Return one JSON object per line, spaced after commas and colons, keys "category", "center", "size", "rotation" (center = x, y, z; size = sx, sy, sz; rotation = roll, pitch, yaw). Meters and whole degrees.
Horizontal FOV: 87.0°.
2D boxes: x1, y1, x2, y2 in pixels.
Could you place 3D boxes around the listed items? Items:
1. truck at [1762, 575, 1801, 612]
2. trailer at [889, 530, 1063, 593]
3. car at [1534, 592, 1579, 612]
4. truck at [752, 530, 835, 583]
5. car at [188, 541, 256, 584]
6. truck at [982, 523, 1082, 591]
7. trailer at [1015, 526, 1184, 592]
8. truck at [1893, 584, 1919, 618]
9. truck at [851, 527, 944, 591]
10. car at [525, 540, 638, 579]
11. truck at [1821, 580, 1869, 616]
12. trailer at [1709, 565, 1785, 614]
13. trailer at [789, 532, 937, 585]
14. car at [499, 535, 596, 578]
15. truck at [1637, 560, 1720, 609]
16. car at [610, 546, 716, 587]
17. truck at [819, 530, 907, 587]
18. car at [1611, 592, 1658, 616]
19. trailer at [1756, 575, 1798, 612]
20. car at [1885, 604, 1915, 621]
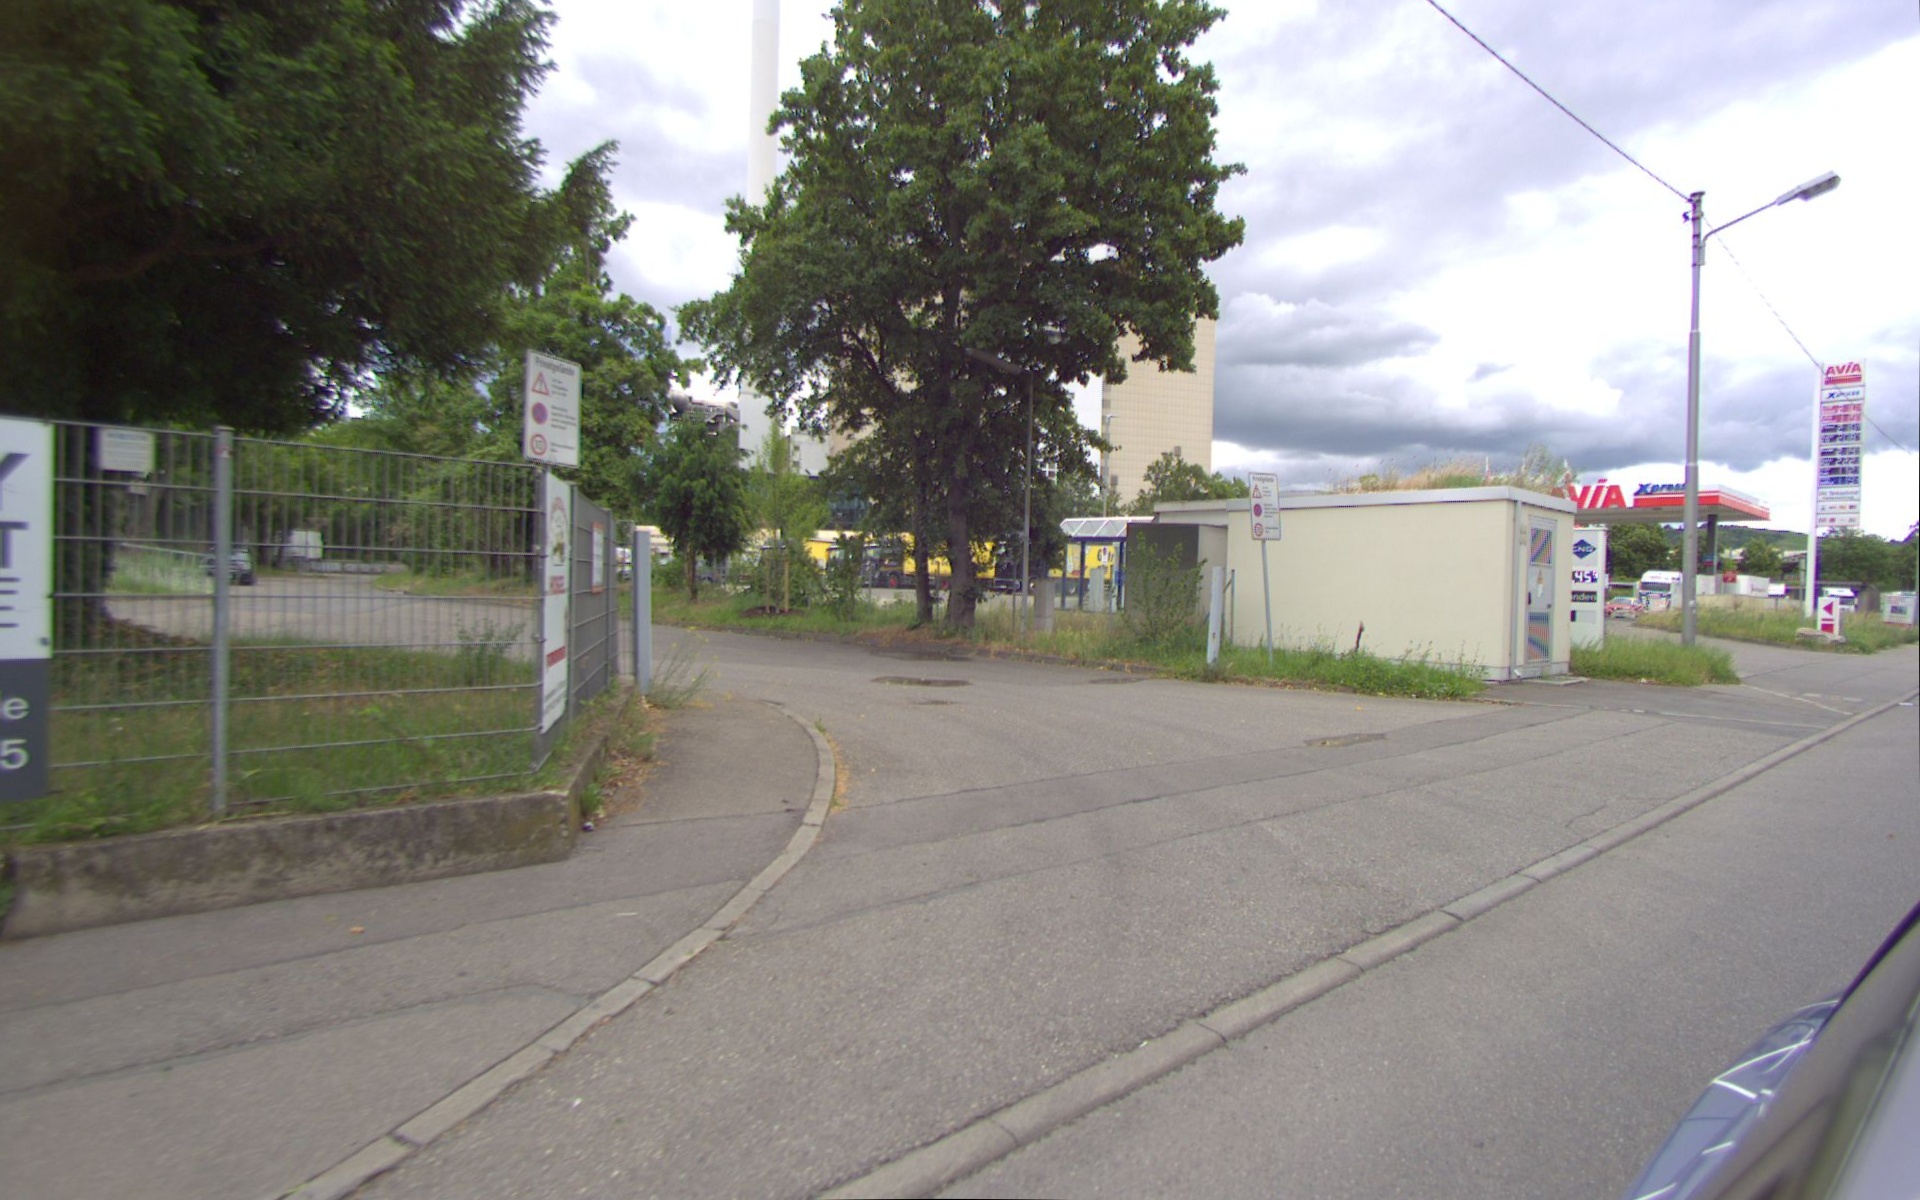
{"category": "truck", "center": [96.959, -0.769, 119.461], "size": [2.856, 4.145, 6.672], "rotation": [3, 2, 35]}
{"category": "trailer", "center": [1.611, -2.824, 77.674], "size": [15.457, 4.313, 3.025], "rotation": [0, 2, -43]}
{"category": "car", "center": [45.086, 0.160, 76.462], "size": [4.143, 1.408, 1.768], "rotation": [1, 3, -42]}
{"category": "truck", "center": [-13.188, -3.425, 80.337], "size": [5.938, 3.963, 2.694], "rotation": [1, 2, -43]}
{"category": "car", "center": [-29.321, -1.533, 40.316], "size": [1.961, 1.539, 4.445], "rotation": [2, 2, -34]}
{"category": "truck", "center": [4.575, -2.666, 63.932], "size": [5.938, 3.963, 2.961], "rotation": [1, 2, -43]}
{"category": "trailer", "center": [9.783, -2.627, 68.759], "size": [14.058, 3.963, 3.004], "rotation": [0, 2, -43]}
{"category": "truck", "center": [118.105, 0.196, 125.063], "size": [2.855, 4.063, 6.675], "rotation": [3, 2, 33]}
{"category": "truck", "center": [-4.444, -2.883, 72.110], "size": [5.938, 4.315, 3.048], "rotation": [1, 2, -43]}
{"category": "car", "center": [-17.845, -1.903, 47.857], "size": [4.574, 1.666, 1.965], "rotation": [0, 2, -42]}
{"category": "truck", "center": [107.681, -0.285, 123.278], "size": [2.850, 4.145, 6.688], "rotation": [3, 2, 29]}
{"category": "trailer", "center": [70.987, -0.883, 91.214], "size": [10.216, 4.015, 2.966], "rotation": [1, 3, -39]}
{"category": "trailer", "center": [-7.890, -3.368, 85.232], "size": [13.456, 3.963, 2.694], "rotation": [0, 2, -43]}
{"category": "car", "center": [-22.474, -2.381, 55.336], "size": [4.799, 2.129, 2.107], "rotation": [1, 2, -20]}
{"category": "truck", "center": [65.147, -1.307, 91.601], "size": [12.841, 4.015, 3.081], "rotation": [1, 3, -42]}
{"category": "car", "center": [-12.237, -1.373, 41.766], "size": [3.816, 1.549, 1.736], "rotation": [1, 2, -41]}
{"category": "truck", "center": [-7.147, -3.063, 75.044], "size": [5.938, 3.963, 2.694], "rotation": [1, 2, -43]}
{"category": "car", "center": [48.275, 0.281, 72.431], "size": [4.143, 1.590, 1.768], "rotation": [1, 3, -42]}
{"category": "trailer", "center": [100.361, -0.744, 124.479], "size": [2.822, 4.145, 13.230], "rotation": [3, 2, 34]}
{"category": "car", "center": [90.512, 1.218, 97.402], "size": [3.931, 1.591, 1.767], "rotation": [1, -1, -42]}
